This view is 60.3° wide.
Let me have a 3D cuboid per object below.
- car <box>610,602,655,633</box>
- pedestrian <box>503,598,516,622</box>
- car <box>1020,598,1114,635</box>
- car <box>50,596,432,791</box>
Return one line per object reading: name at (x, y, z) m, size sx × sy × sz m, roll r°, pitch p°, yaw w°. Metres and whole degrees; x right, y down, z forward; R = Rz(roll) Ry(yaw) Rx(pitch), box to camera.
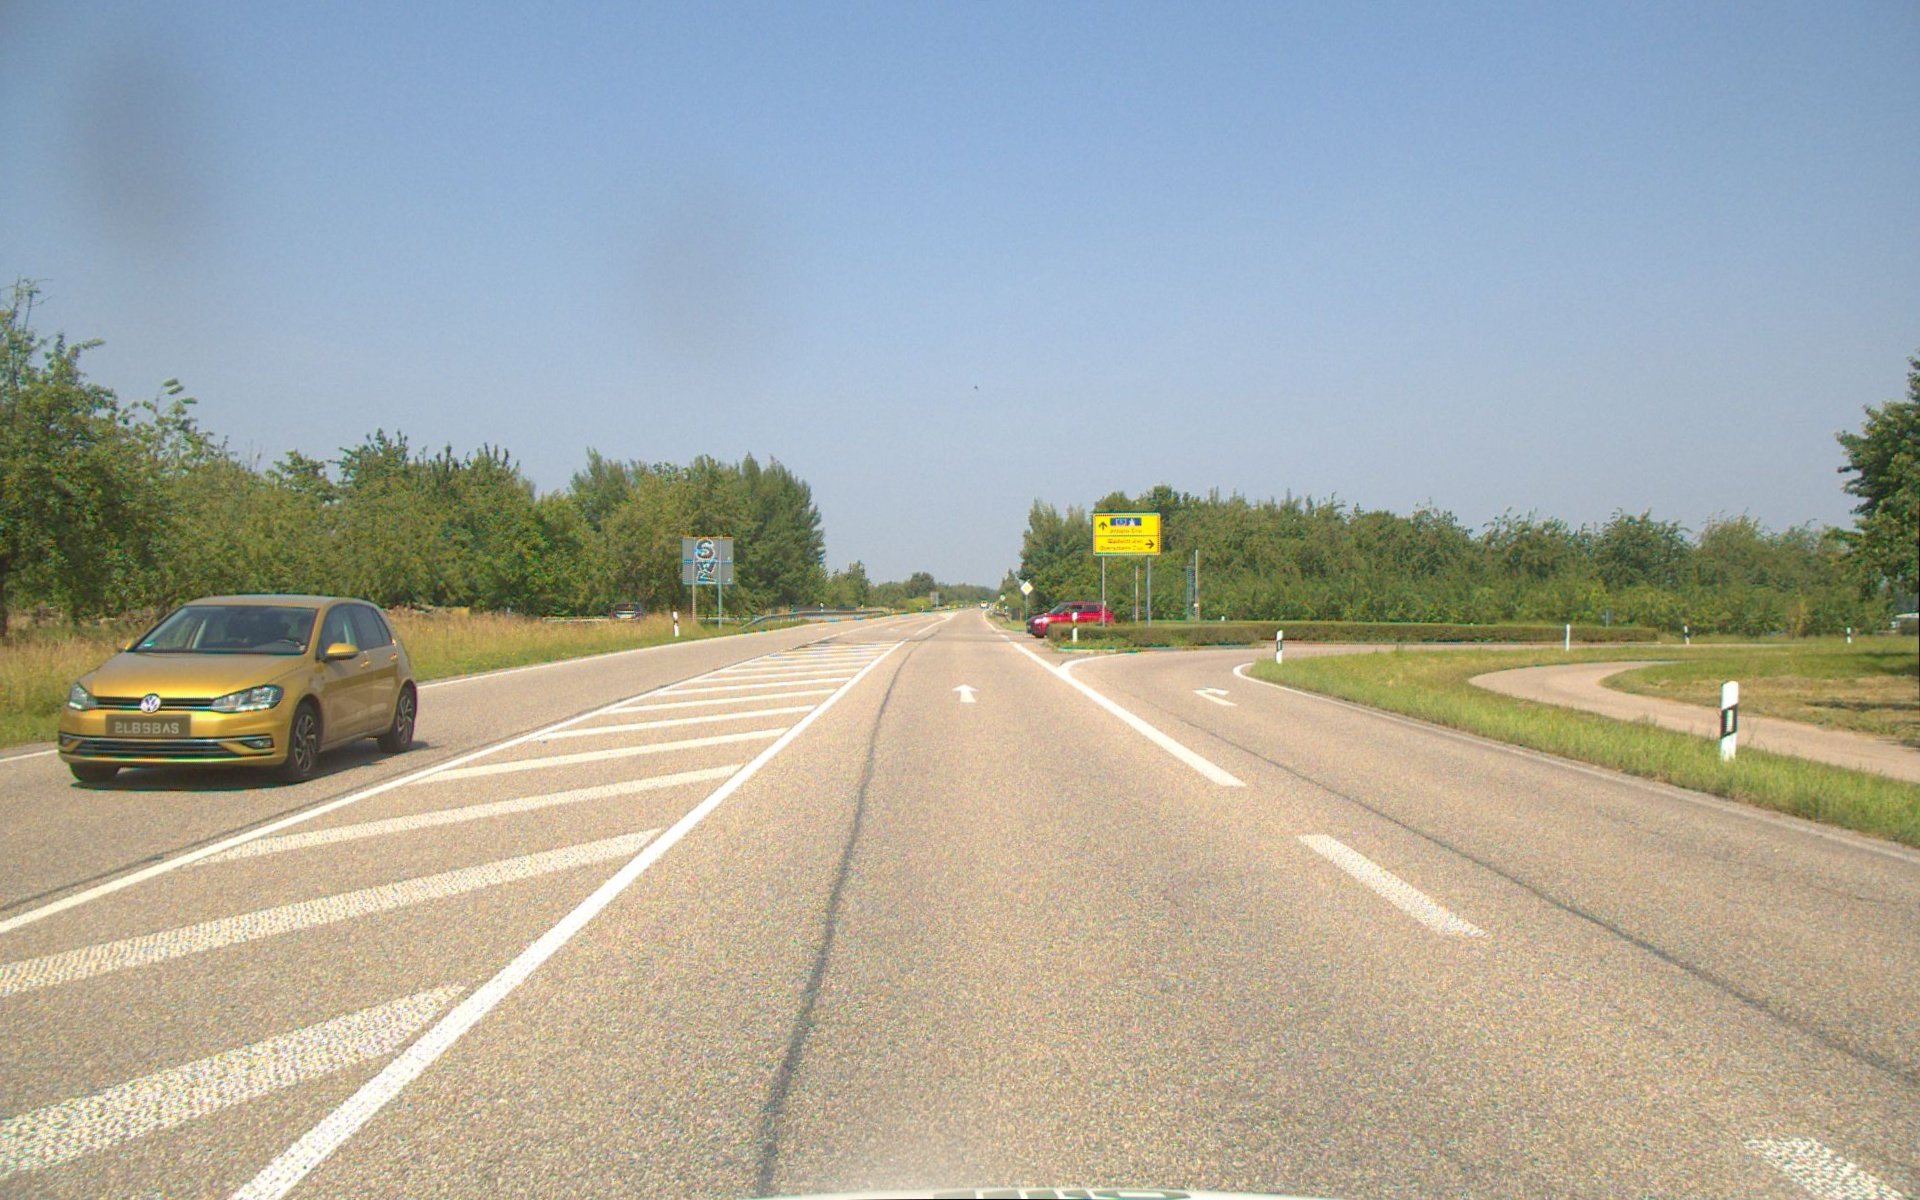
car at (-15.796, 0.825, 79.945) m, size 1.671 × 1.448 × 4.039 m, roll 0°, pitch 0°, yaw -5°
pedestrian at (-25.254, 0.549, 92.686) m, size 0.561 × 1.320 × 0.556 m, roll 0°, pitch 0°, yaw 2°
car at (4.552, 0.706, 70.443) m, size 3.681 × 1.519 × 1.663 m, roll 1°, pitch 0°, yaw -18°
car at (-5.919, 0.686, 14.126) m, size 1.663 × 1.441 × 3.824 m, roll 0°, pitch 0°, yaw -2°
